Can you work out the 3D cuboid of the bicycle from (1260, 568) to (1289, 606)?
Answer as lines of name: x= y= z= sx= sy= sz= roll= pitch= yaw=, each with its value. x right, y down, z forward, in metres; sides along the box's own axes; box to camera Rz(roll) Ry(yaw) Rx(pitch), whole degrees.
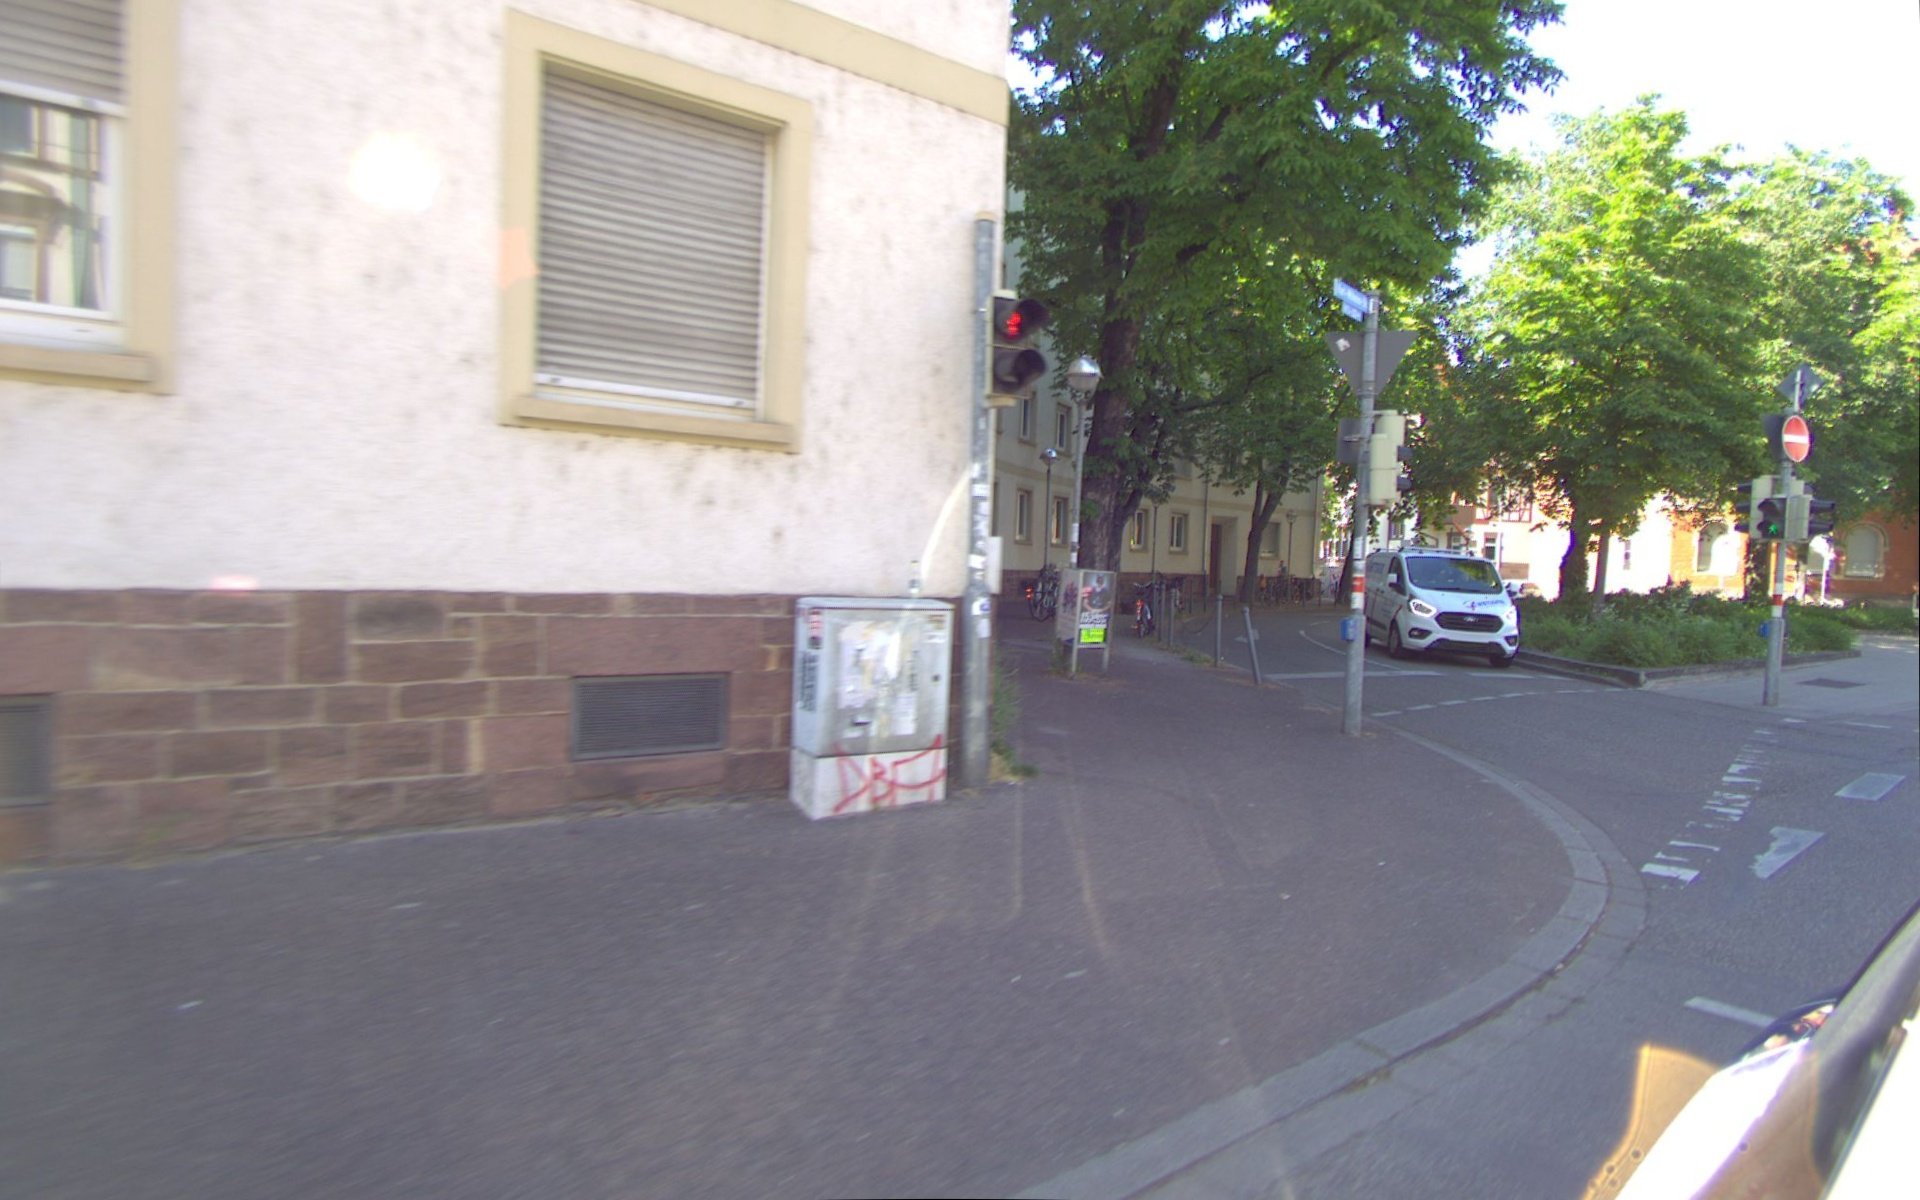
bicycle: x=11.295 y=-0.469 z=36.301 sx=0.426 sy=1.295 sz=1.468 roll=5 pitch=2 yaw=37

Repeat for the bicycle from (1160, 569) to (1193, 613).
bicycle: x=6.125 y=-0.252 z=28.601 sx=0.471 sy=1.167 sz=1.978 roll=6 pitch=2 yaw=22

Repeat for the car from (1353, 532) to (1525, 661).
car: x=8.867 y=-0.102 z=19.180 sx=1.660 sy=2.118 sz=4.745 roll=1 pitch=1 yaw=10

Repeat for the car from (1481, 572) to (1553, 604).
car: x=31.480 y=-0.687 z=57.339 sx=1.602 sy=1.738 sz=3.809 roll=1 pitch=1 yaw=-7

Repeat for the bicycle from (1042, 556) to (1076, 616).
bicycle: x=2.242 y=-0.319 z=22.814 sx=0.422 sy=1.295 sz=1.481 roll=4 pitch=2 yaw=15

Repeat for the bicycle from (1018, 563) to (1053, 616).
bicycle: x=1.718 y=-0.240 z=22.871 sx=0.422 sy=1.135 sz=1.513 roll=4 pitch=2 yaw=15

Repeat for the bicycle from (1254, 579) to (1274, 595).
bicycle: x=12.543 y=-0.547 z=41.750 sx=0.431 sy=0.644 sz=0.902 roll=2 pitch=1 yaw=44

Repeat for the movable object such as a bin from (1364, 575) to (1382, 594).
movable object such as a bin: x=20.940 y=-0.788 z=51.286 sx=0.570 sy=0.977 sz=0.644 roll=1 pitch=1 yaw=-5

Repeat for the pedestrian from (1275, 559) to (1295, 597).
pedestrian: x=14.314 y=-0.956 z=44.590 sx=0.617 sy=1.655 sz=0.572 roll=1 pitch=1 yaw=-33

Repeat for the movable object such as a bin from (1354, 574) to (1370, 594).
movable object such as a bin: x=20.336 y=-0.798 z=51.204 sx=0.532 sy=0.977 sz=0.644 roll=1 pitch=1 yaw=-5

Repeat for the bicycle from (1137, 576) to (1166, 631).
bicycle: x=4.109 y=0.055 z=21.679 sx=0.422 sy=1.093 sz=1.481 roll=4 pitch=2 yaw=15

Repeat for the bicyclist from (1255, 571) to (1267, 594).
bicyclist: x=12.492 y=-0.735 z=42.002 sx=0.338 sy=0.956 sz=0.387 roll=1 pitch=1 yaw=45

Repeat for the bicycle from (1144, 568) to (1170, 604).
bicycle: x=6.594 y=-0.485 z=33.801 sx=0.456 sy=1.129 sz=1.554 roll=4 pitch=4 yaw=23

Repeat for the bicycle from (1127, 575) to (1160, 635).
bicycle: x=3.603 y=0.080 z=19.819 sx=0.422 sy=1.093 sz=1.481 roll=4 pitch=2 yaw=15
